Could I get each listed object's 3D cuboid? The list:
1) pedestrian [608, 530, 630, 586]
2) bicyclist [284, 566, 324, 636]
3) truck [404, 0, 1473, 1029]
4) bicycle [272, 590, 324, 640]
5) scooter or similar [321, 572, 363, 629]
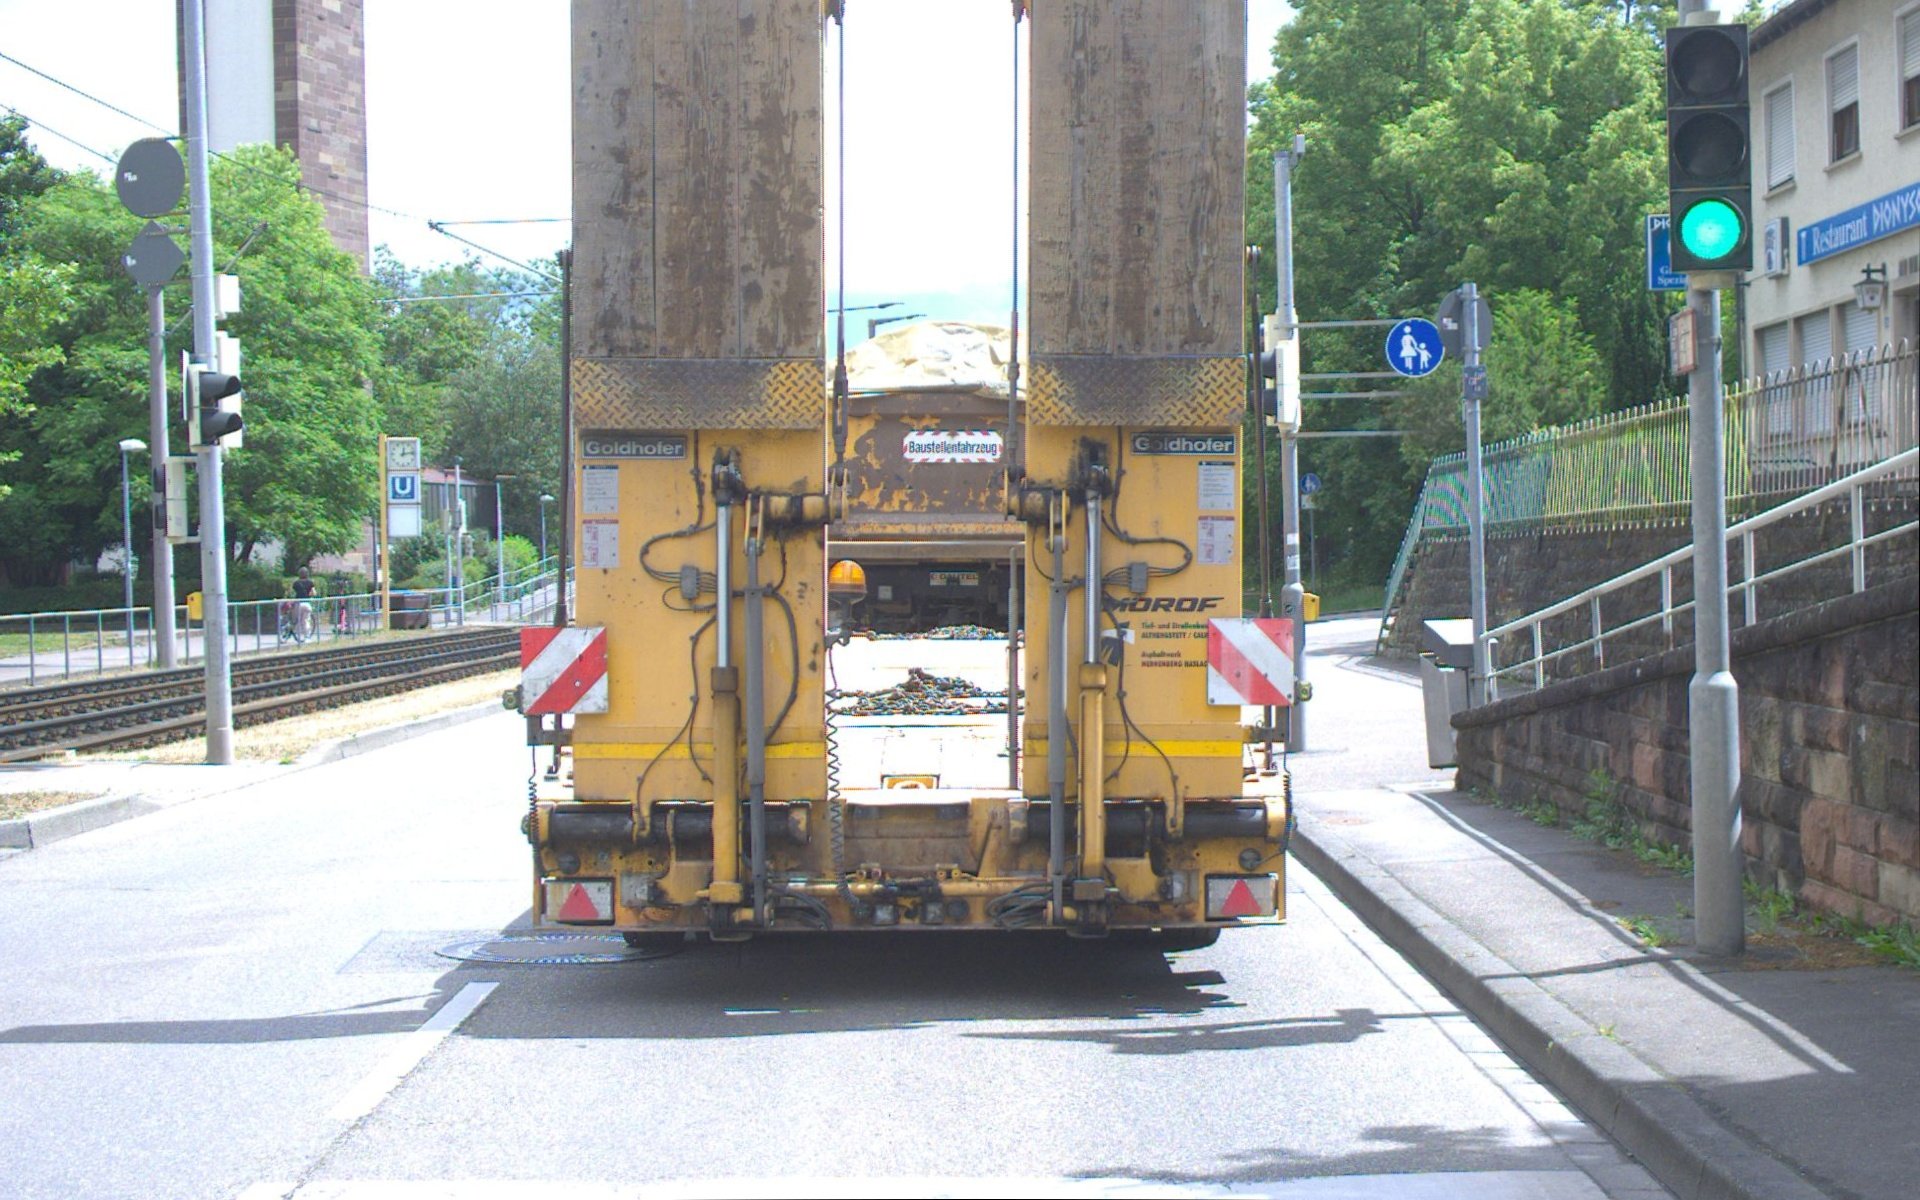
[{"bbox_3d":[-12.284,-1.498,123.765,0.712,2.007,0.732,1,0,0],"label":"pedestrian"},{"bbox_3d":[-13.495,0.021,70.708,0.633,1.424,0.790,1,0,2],"label":"bicyclist"},{"bbox_3d":[-0.162,-0.555,17.974,3.402,3.719,13.739,-1,0,-1],"label":"truck"},{"bbox_3d":[-13.563,0.302,70.493,0.637,0.990,1.928,1,0,2],"label":"bicycle"},{"bbox_3d":[-13.781,0.006,76.684,0.649,1.233,1.401,0,1,2],"label":"scooter or similar"}]
